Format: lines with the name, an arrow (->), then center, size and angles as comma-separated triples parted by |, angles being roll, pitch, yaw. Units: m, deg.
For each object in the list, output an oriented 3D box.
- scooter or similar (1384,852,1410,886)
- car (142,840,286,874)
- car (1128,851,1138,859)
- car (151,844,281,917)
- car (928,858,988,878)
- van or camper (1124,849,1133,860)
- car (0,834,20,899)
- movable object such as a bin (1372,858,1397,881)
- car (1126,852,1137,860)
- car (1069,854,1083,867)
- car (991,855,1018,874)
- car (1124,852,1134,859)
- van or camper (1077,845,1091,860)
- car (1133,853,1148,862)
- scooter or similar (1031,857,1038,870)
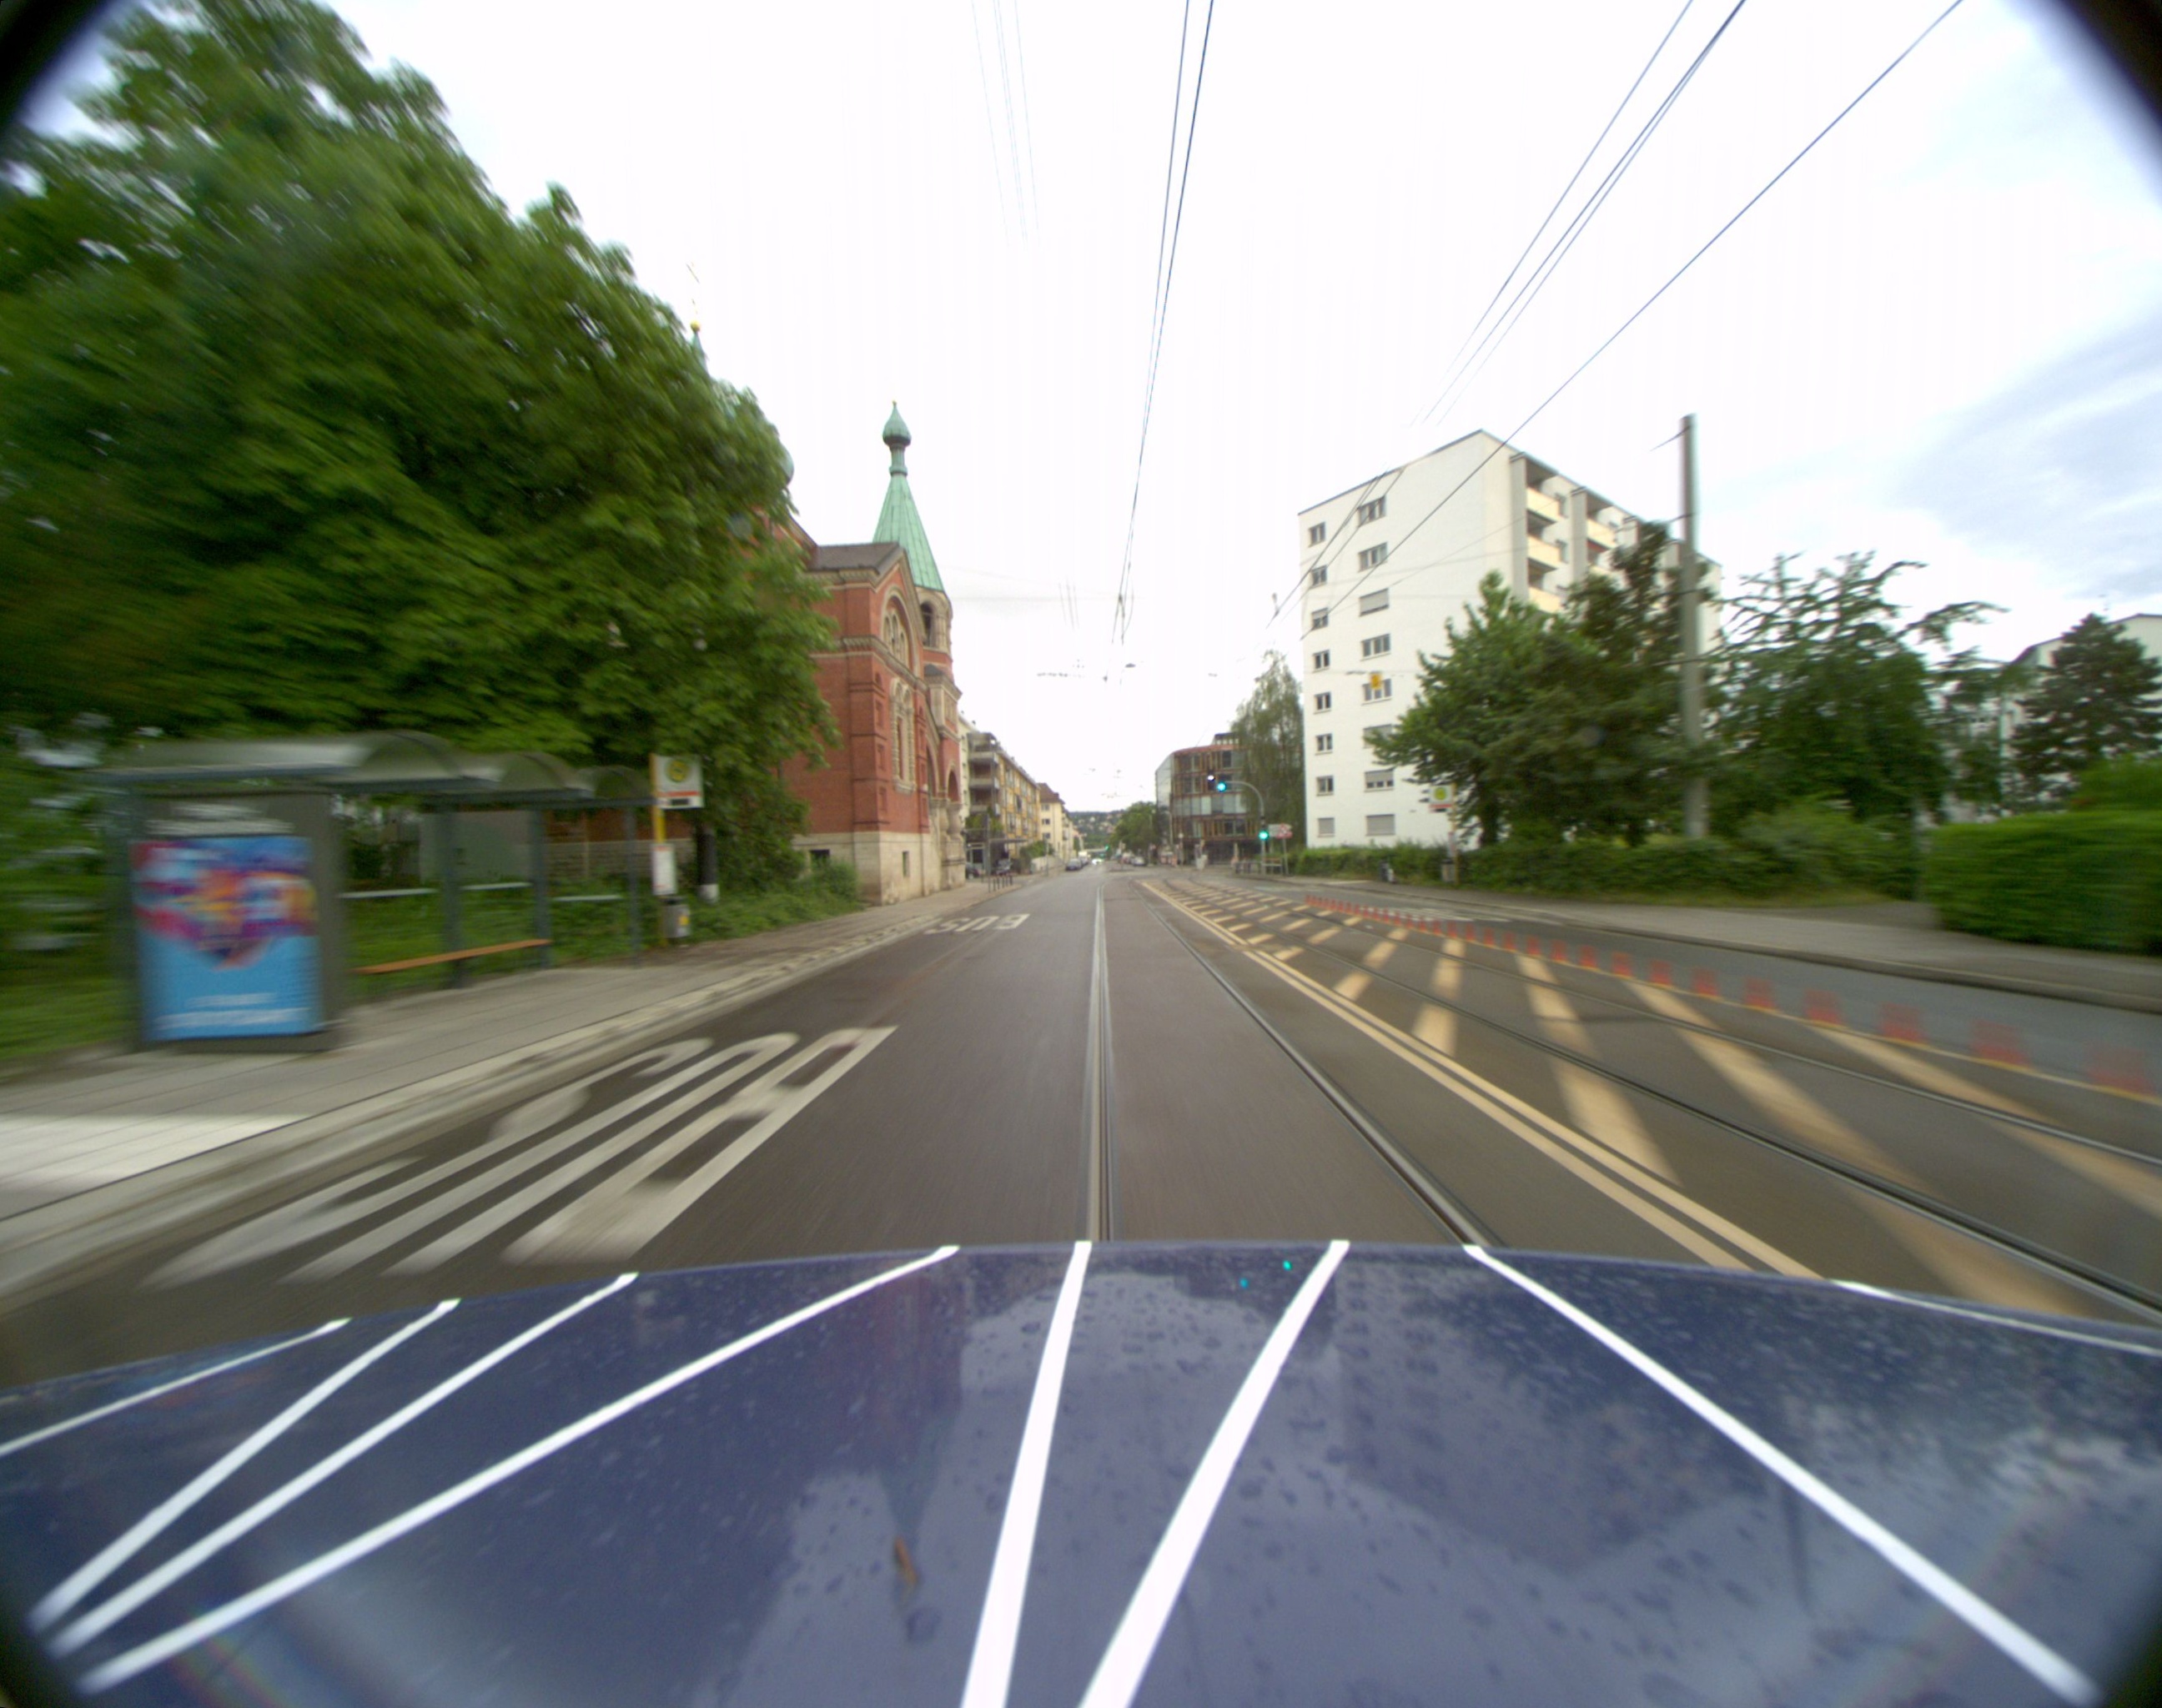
scooter or similar -> 12.234, 0.566, 29.485 | 0.573, 1.177, 1.601 | -3, 2, 11
car -> -39.233, 0.131, 34.547 | 4.007, 1.398, 1.824 | -2, 0, -39
car -> 11.266, 0.223, 164.310 | 1.880, 1.700, 3.998 | -2, 2, -1
car -> -21.424, 0.629, 18.976 | 3.985, 1.555, 1.845 | -1, 2, 44
car -> -9.827, 1.146, 60.967 | 4.459, 1.448, 1.996 | 2, -3, -44
van or camper -> 11.965, 0.052, 190.752 | 2.143, 2.588, 5.549 | -3, 2, 3
car -> -28.389, 0.354, 18.727 | 1.845, 1.686, 4.190 | -4, 2, -45
movable object such as a bin -> 12.564, 0.653, 31.494 | 0.688, 0.877, 0.760 | -3, 2, -4
car -> 10.572, 0.415, 159.357 | 1.880, 1.390, 3.998 | -2, 1, -1
car -> -0.604, 0.858, 102.162 | 1.734, 1.451, 4.477 | -3, 2, 1
car -> -7.099, 0.929, 70.695 | 1.858, 1.495, 4.448 | 1, 2, 2
car -> 11.695, 0.326, 184.724 | 1.998, 1.566, 3.999 | -3, 2, 1
van or camper -> 0.808, -0.406, 171.220 | 2.753, 3.041, 7.029 | -3, 2, 2
car -> 9.311, 0.527, 119.257 | 1.862, 1.386, 4.645 | -2, 0, 1
scooter or similar -> -4.851, 0.964, 79.689 | 0.536, 1.320, 1.659 | 3, 1, 2
